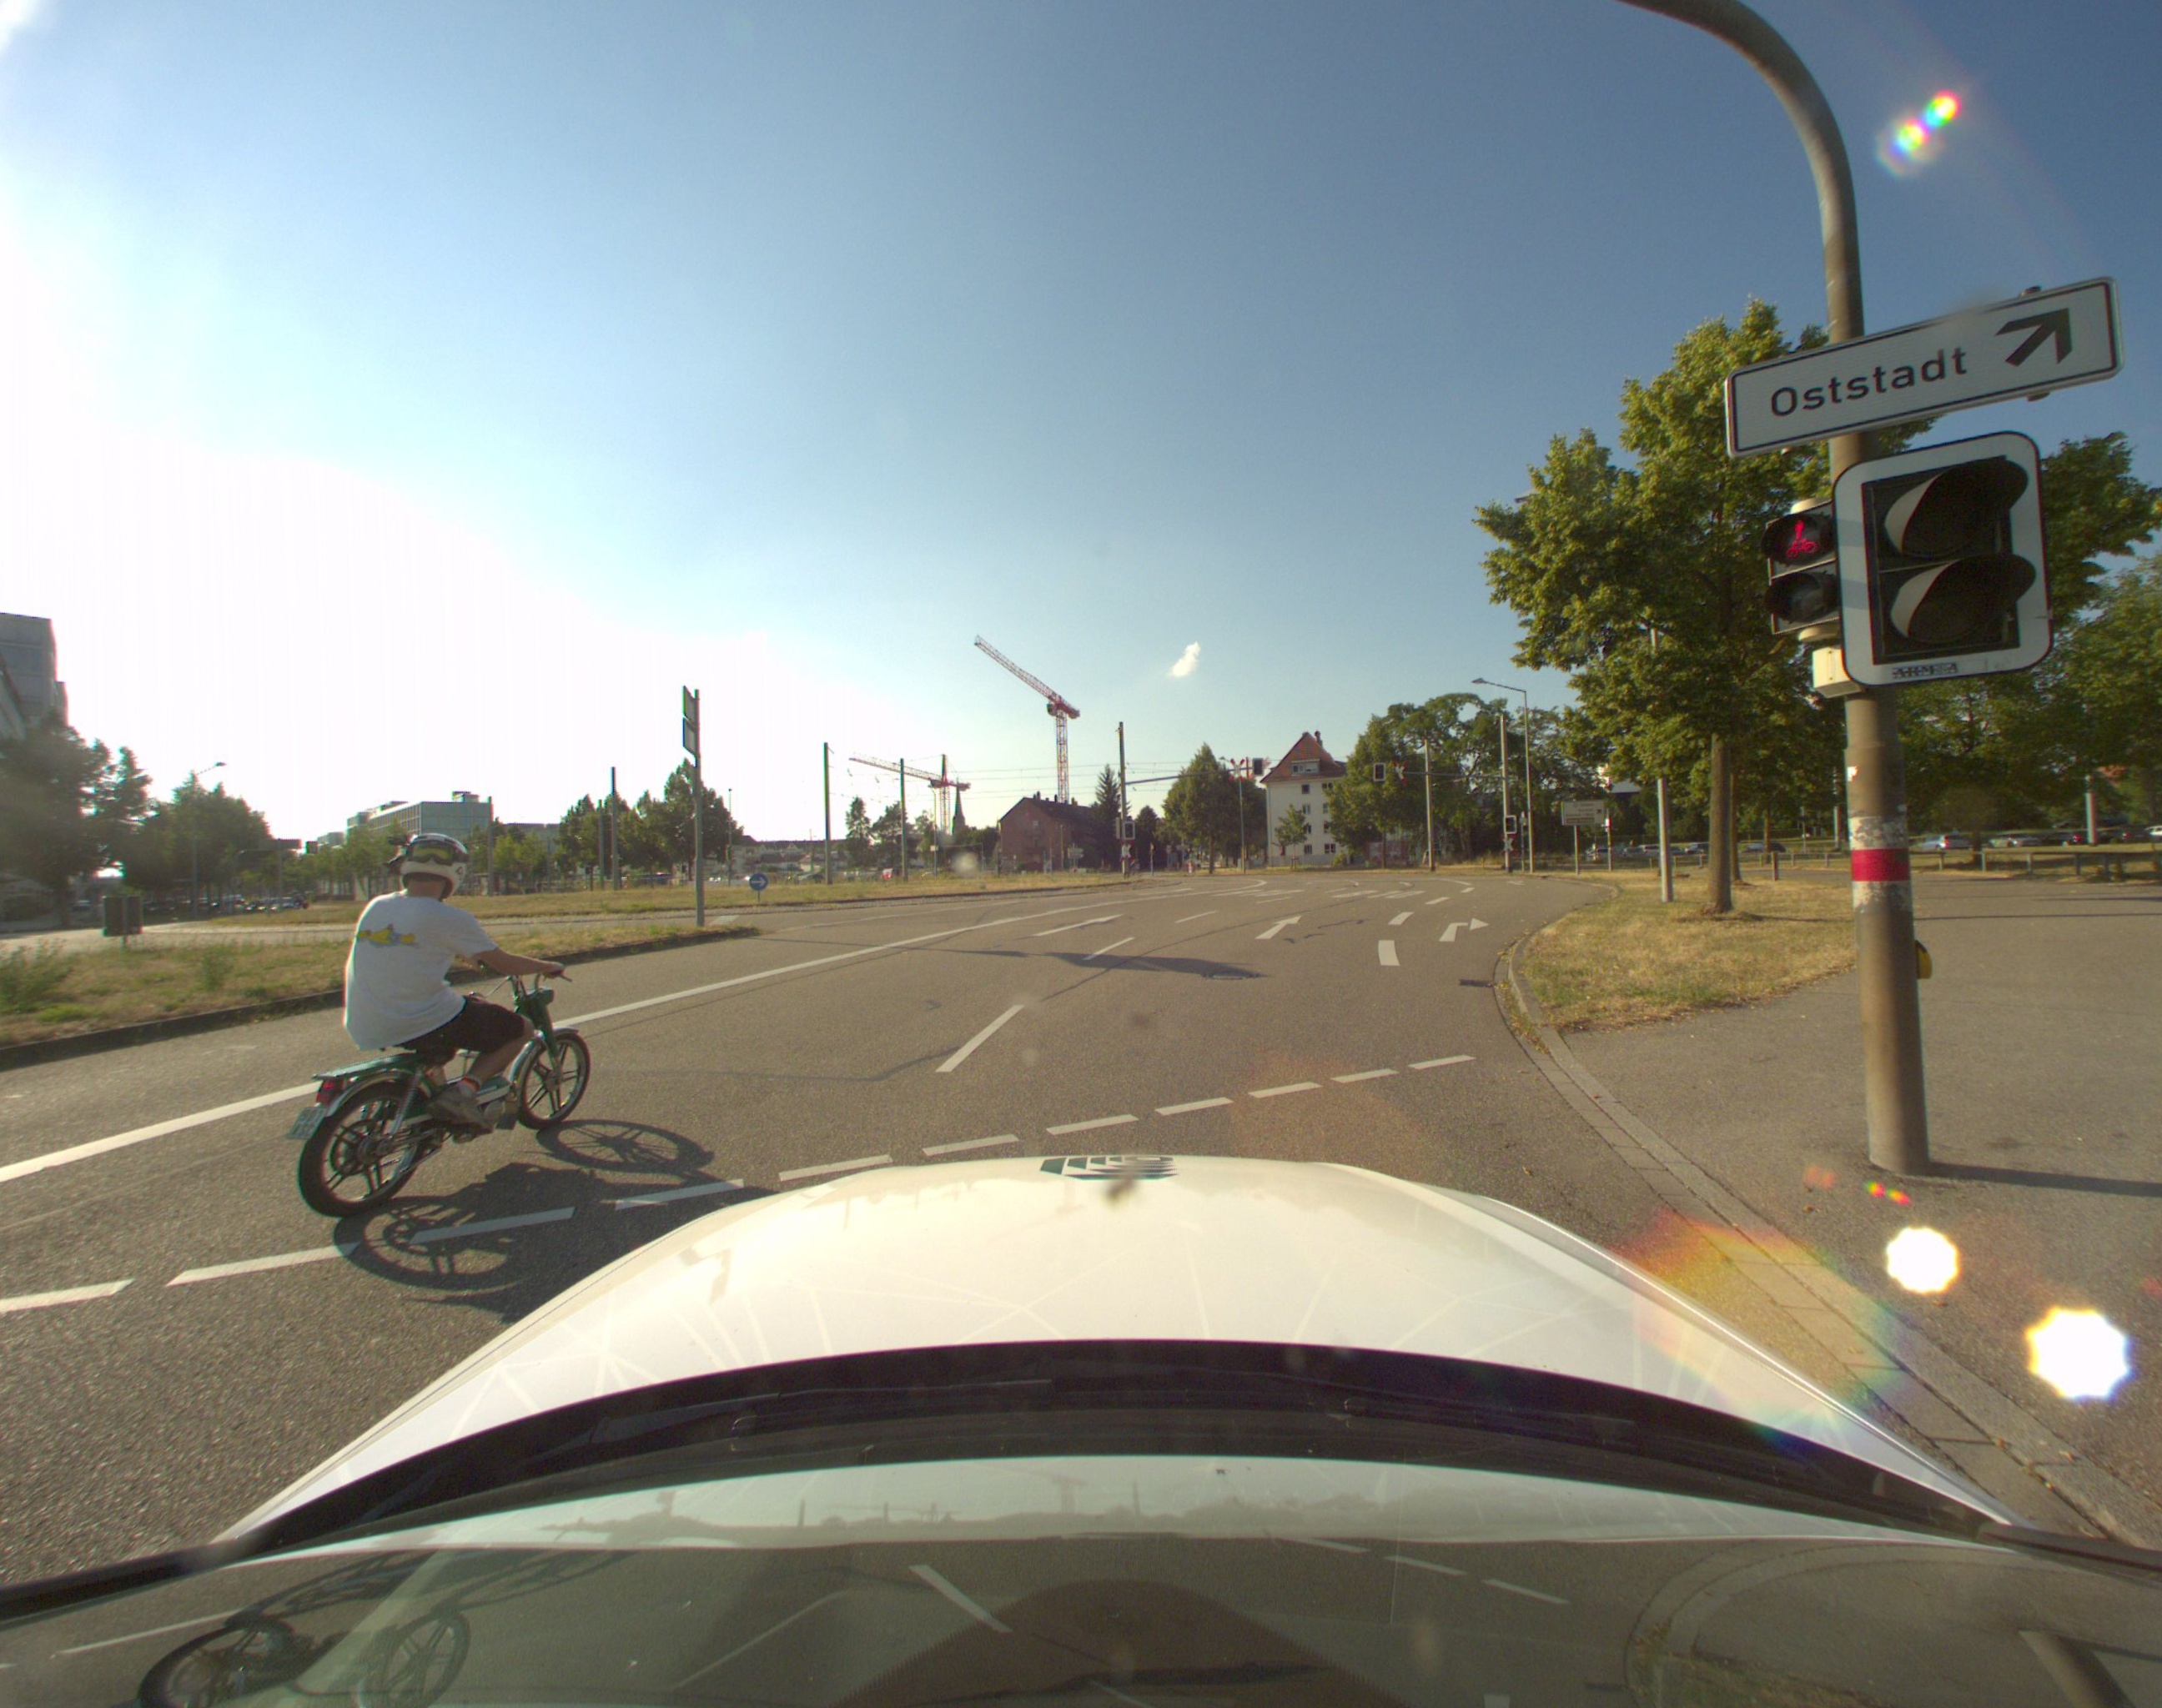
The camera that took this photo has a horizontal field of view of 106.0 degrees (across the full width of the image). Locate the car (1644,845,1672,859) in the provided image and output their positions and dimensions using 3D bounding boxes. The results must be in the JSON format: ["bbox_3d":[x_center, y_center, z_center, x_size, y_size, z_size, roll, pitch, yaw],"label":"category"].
[{"bbox_3d":[59.886,-0.203,84.569,1.586,1.402,3.991,-3,-2,25],"label":"car"}]

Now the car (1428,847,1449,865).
[{"bbox_3d":[35.359,0.192,80.495,1.755,1.618,3.991,-3,-2,25],"label":"car"}]

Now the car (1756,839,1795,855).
[{"bbox_3d":[60.569,-0.591,71.089,1.586,1.310,3.991,-3,-2,25],"label":"car"}]

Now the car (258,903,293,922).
[{"bbox_3d":[-71.154,5.149,71.943,3.949,1.475,2.012,-3,-1,43],"label":"car"}]

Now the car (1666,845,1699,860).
[{"bbox_3d":[54.540,-0.116,73.949,1.586,1.221,3.991,-3,-2,25],"label":"car"}]

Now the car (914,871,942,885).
[{"bbox_3d":[-23.816,3.743,126.701,3.780,2.014,1.678,-2,-2,15],"label":"car"}]

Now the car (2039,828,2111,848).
[{"bbox_3d":[78.837,-1.220,64.693,1.806,1.403,4.020,-3,-2,20],"label":"car"}]

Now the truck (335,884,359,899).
[{"bbox_3d":[-168.185,8.661,186.494,7.081,3.231,3.157,-3,-1,40],"label":"truck"}]

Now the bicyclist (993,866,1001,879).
[{"bbox_3d":[-9.460,2.063,91.640,0.897,1.396,0.524,-2,-1,-9],"label":"bicyclist"}]

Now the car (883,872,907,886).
[{"bbox_3d":[-25.330,3.409,110.619,1.933,1.854,3.958,-1,-1,-33],"label":"car"}]

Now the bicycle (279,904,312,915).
[{"bbox_3d":[-59.162,4.164,61.352,0.474,0.744,1.732,-3,-1,40],"label":"bicycle"}]

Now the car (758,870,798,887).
[{"bbox_3d":[-35.947,2.929,96.616,4.017,1.816,1.978,-2,-1,-36],"label":"car"}]

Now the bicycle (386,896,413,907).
[{"bbox_3d":[-57.745,4.028,69.039,0.538,0.860,1.629,-2,-1,31],"label":"bicycle"}]

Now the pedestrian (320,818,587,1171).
[{"bbox_3d":[-3.024,0.616,4.017,0.655,1.519,0.852,-2,-1,-5],"label":"pedestrian"}]

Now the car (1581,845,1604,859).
[{"bbox_3d":[54.768,-0.144,87.251,1.586,1.402,3.991,-3,-2,25],"label":"car"}]

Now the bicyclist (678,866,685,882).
[{"bbox_3d":[-41.876,2.094,85.345,0.610,1.672,0.474,-1,-2,-26],"label":"bicyclist"}]

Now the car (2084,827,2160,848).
[{"bbox_3d":[81.103,-1.277,63.532,1.806,1.403,4.020,-2,-1,20],"label":"car"}]

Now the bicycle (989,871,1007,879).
[{"bbox_3d":[-9.372,2.362,91.589,1.987,0.825,0.428,-2,-1,-10],"label":"bicycle"}]

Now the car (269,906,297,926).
[{"bbox_3d":[-65.789,5.085,67.142,3.258,1.475,1.493,-3,-1,43],"label":"car"}]

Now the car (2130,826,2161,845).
[{"bbox_3d":[83.829,-1.457,62.731,1.806,1.403,4.020,-2,-1,20],"label":"car"}]

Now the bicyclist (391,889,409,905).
[{"bbox_3d":[-57.727,3.639,69.043,0.684,1.357,0.963,-2,-1,27],"label":"bicyclist"}]

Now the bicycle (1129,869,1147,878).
[{"bbox_3d":[6.447,2.179,92.705,1.987,0.918,0.428,-2,-1,-10],"label":"bicycle"}]

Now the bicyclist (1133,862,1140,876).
[{"bbox_3d":[6.327,1.679,92.693,0.622,1.511,0.417,-2,-1,-9],"label":"bicyclist"}]

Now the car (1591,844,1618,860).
[{"bbox_3d":[49.032,-0.173,76.307,1.586,1.402,3.991,-3,-2,25],"label":"car"}]

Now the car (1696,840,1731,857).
[{"bbox_3d":[56.449,-0.476,72.752,1.586,1.402,3.991,-3,-2,25],"label":"car"}]

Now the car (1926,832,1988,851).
[{"bbox_3d":[72.203,-1.031,67.202,1.806,1.403,4.020,-2,-1,20],"label":"car"}]

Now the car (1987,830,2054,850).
[{"bbox_3d":[76.287,-1.122,66.217,1.806,1.403,4.020,-2,-1,20],"label":"car"}]

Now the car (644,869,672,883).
[{"bbox_3d":[-66.147,3.480,127.286,3.948,2.014,2.013,-2,-1,30],"label":"car"}]

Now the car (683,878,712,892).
[{"bbox_3d":[-58.260,4.719,123.596,3.948,2.014,2.013,-2,-1,30],"label":"car"}]

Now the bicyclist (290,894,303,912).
[{"bbox_3d":[-59.153,3.710,61.384,0.512,1.325,0.658,-3,-1,40],"label":"bicyclist"}]

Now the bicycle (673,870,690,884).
[{"bbox_3d":[-41.854,2.393,85.325,1.547,1.473,0.475,-2,-1,-26],"label":"bicycle"}]

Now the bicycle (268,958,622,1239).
[{"bbox_3d":[-3.048,1.087,4.165,0.477,0.876,1.852,-1,-1,-5],"label":"bicycle"}]
